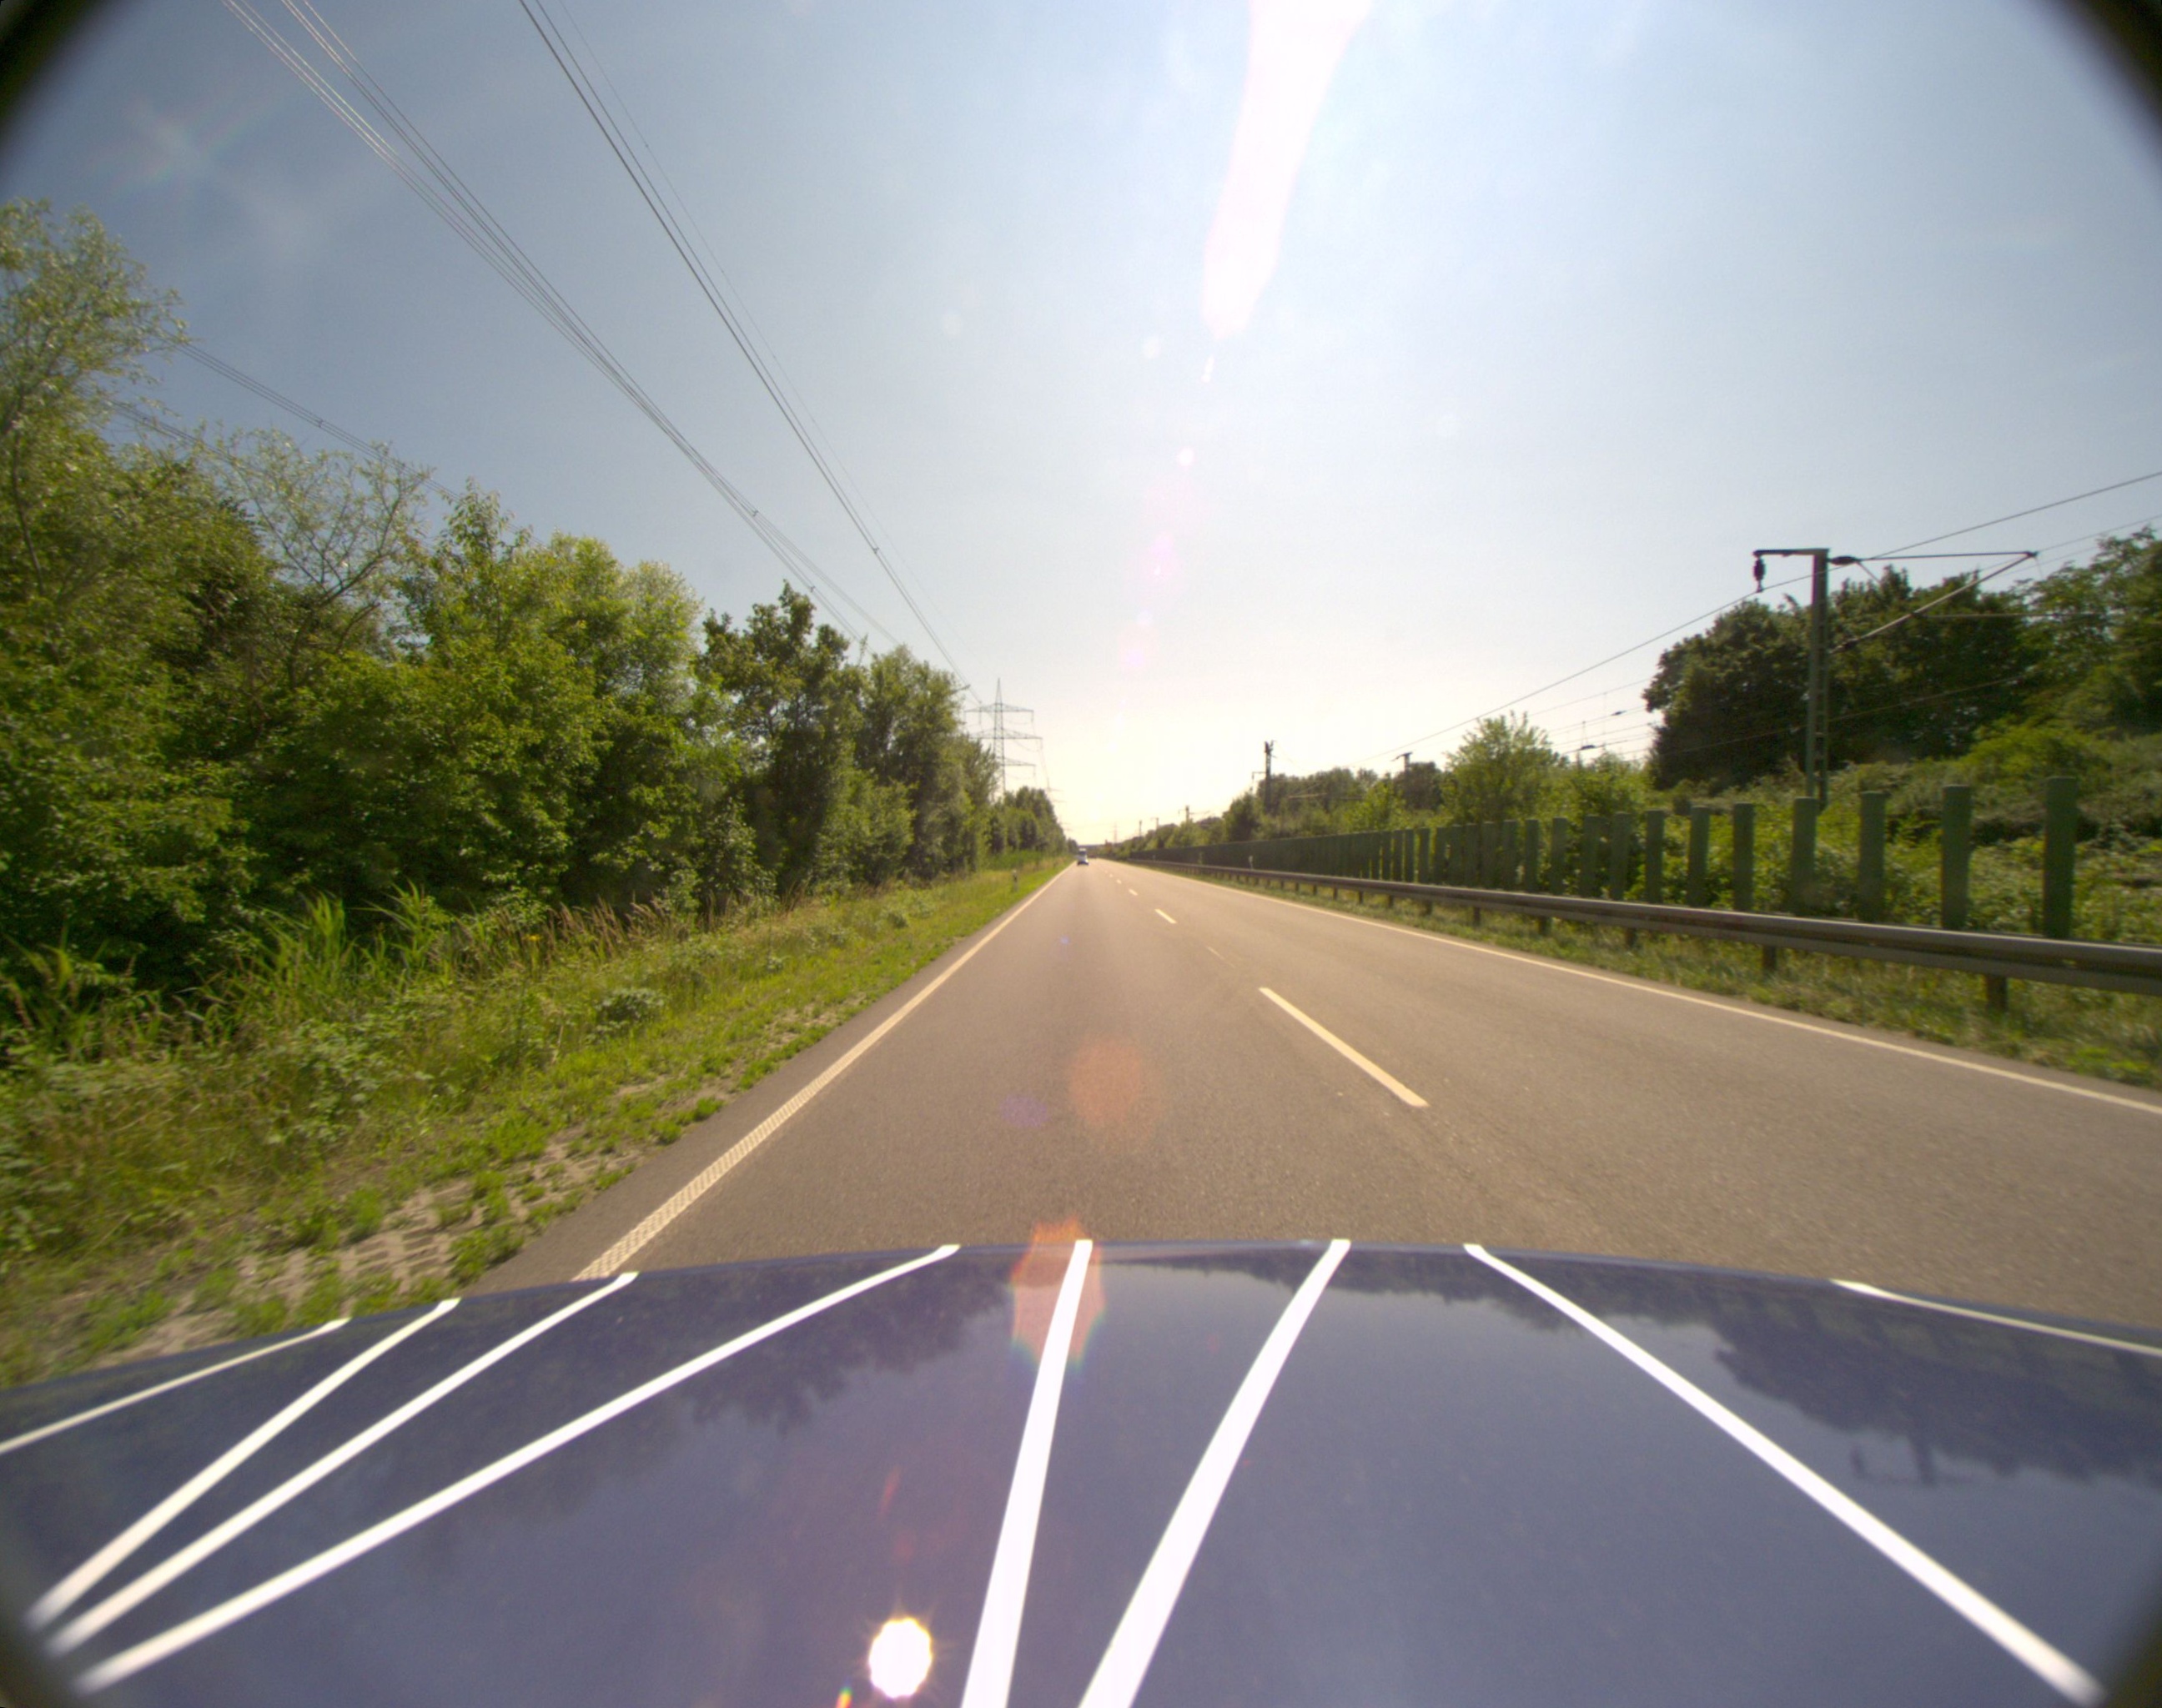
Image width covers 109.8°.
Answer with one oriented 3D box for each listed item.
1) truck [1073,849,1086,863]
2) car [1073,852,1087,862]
[{"bbox_3d":[-0.466,0.704,271.531,4.219,4.608,21.302,-2,0,0],"label":"truck"},{"bbox_3d":[-0.145,0.410,111.751,1.999,1.346,4.157,-3,1,-1],"label":"car"}]
